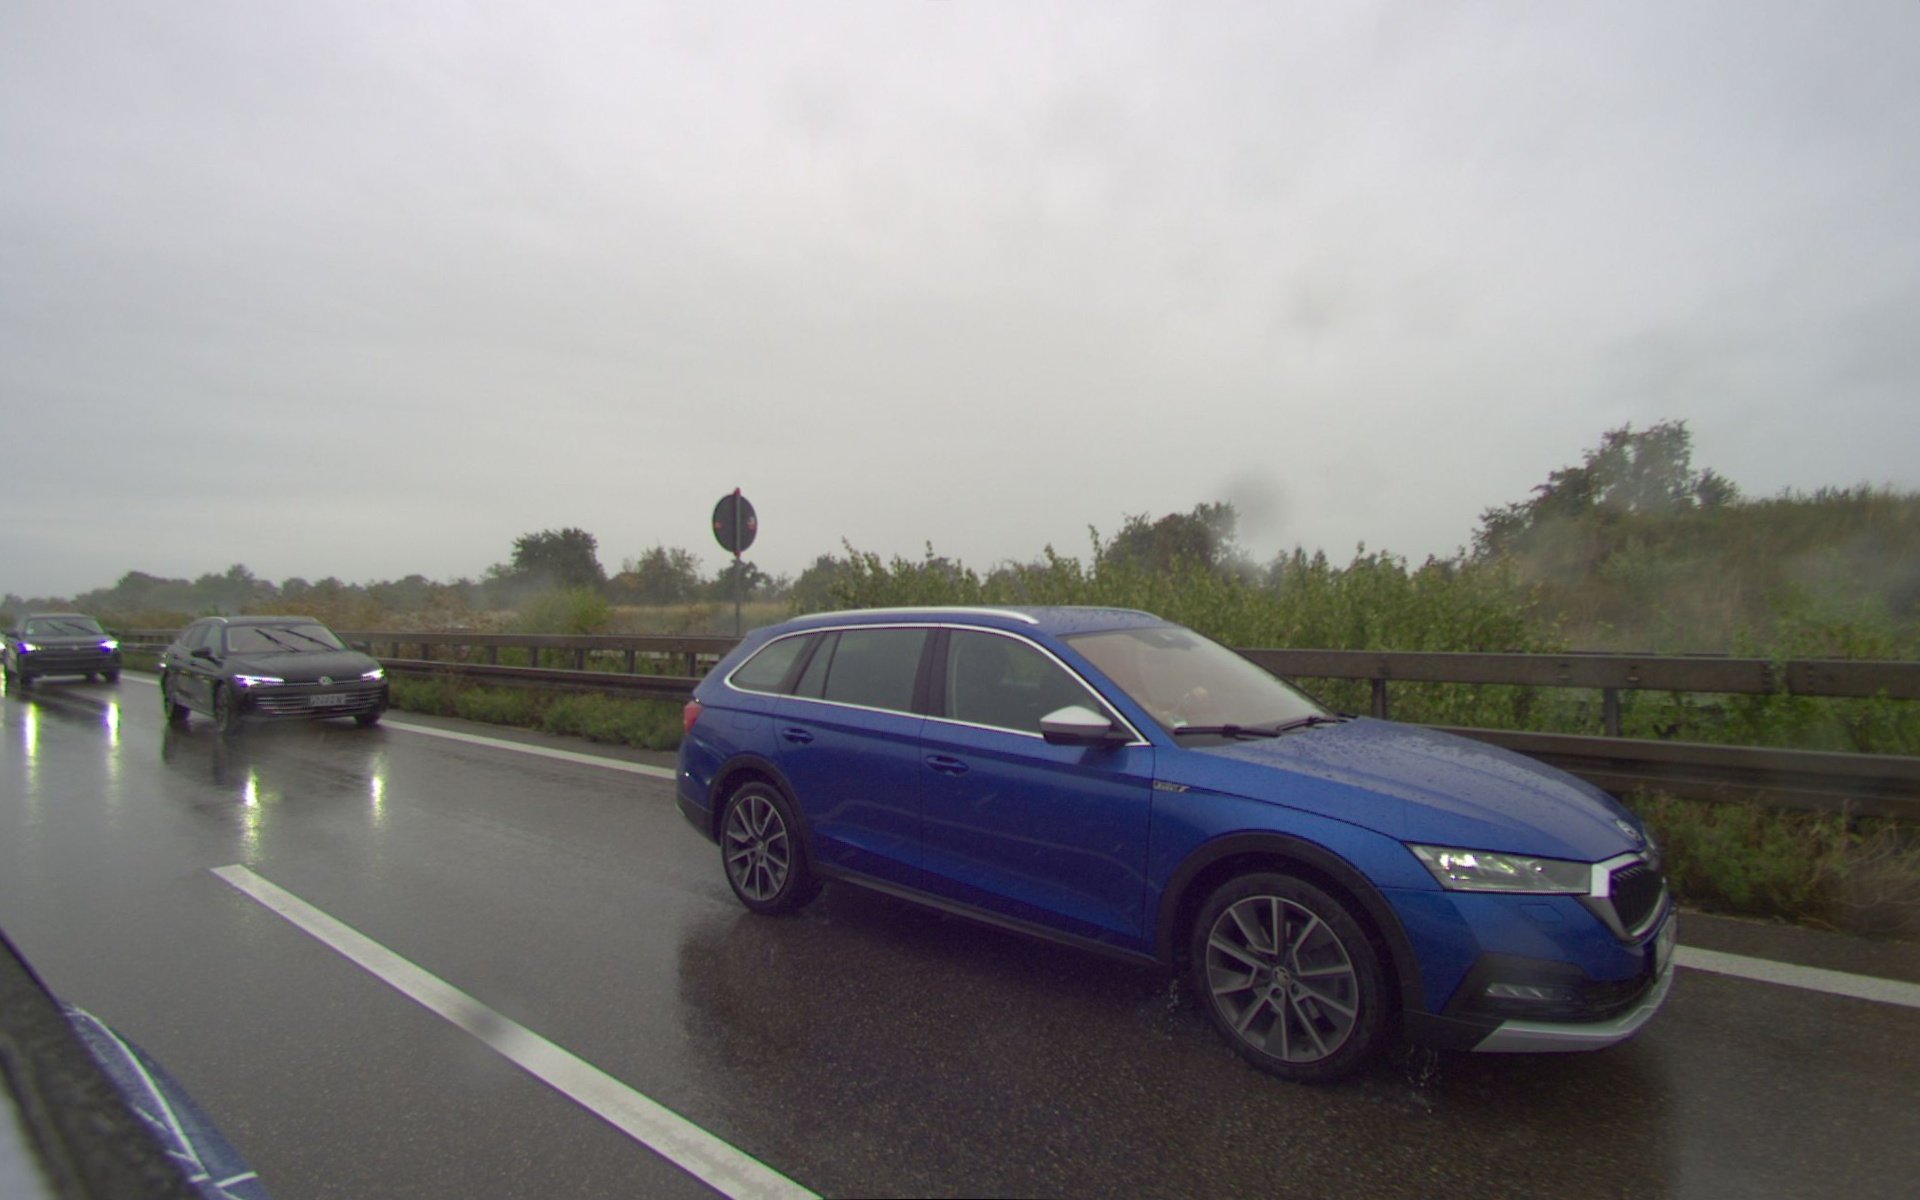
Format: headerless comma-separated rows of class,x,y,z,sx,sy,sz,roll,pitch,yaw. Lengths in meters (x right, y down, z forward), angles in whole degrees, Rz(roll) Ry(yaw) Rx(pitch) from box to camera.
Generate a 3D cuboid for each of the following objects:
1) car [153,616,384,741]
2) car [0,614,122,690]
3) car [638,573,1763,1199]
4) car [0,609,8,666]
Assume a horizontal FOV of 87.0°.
car,-9.595,0.963,13.907,4.368,1.447,1.592,-1,-1,41
car,-21.838,1.197,24.385,4.266,1.644,1.864,-1,-1,41
car,0.598,0.723,4.448,4.509,1.487,1.767,-1,-1,41
car,-36.174,1.359,36.970,4.270,2.029,1.863,-1,-1,44
